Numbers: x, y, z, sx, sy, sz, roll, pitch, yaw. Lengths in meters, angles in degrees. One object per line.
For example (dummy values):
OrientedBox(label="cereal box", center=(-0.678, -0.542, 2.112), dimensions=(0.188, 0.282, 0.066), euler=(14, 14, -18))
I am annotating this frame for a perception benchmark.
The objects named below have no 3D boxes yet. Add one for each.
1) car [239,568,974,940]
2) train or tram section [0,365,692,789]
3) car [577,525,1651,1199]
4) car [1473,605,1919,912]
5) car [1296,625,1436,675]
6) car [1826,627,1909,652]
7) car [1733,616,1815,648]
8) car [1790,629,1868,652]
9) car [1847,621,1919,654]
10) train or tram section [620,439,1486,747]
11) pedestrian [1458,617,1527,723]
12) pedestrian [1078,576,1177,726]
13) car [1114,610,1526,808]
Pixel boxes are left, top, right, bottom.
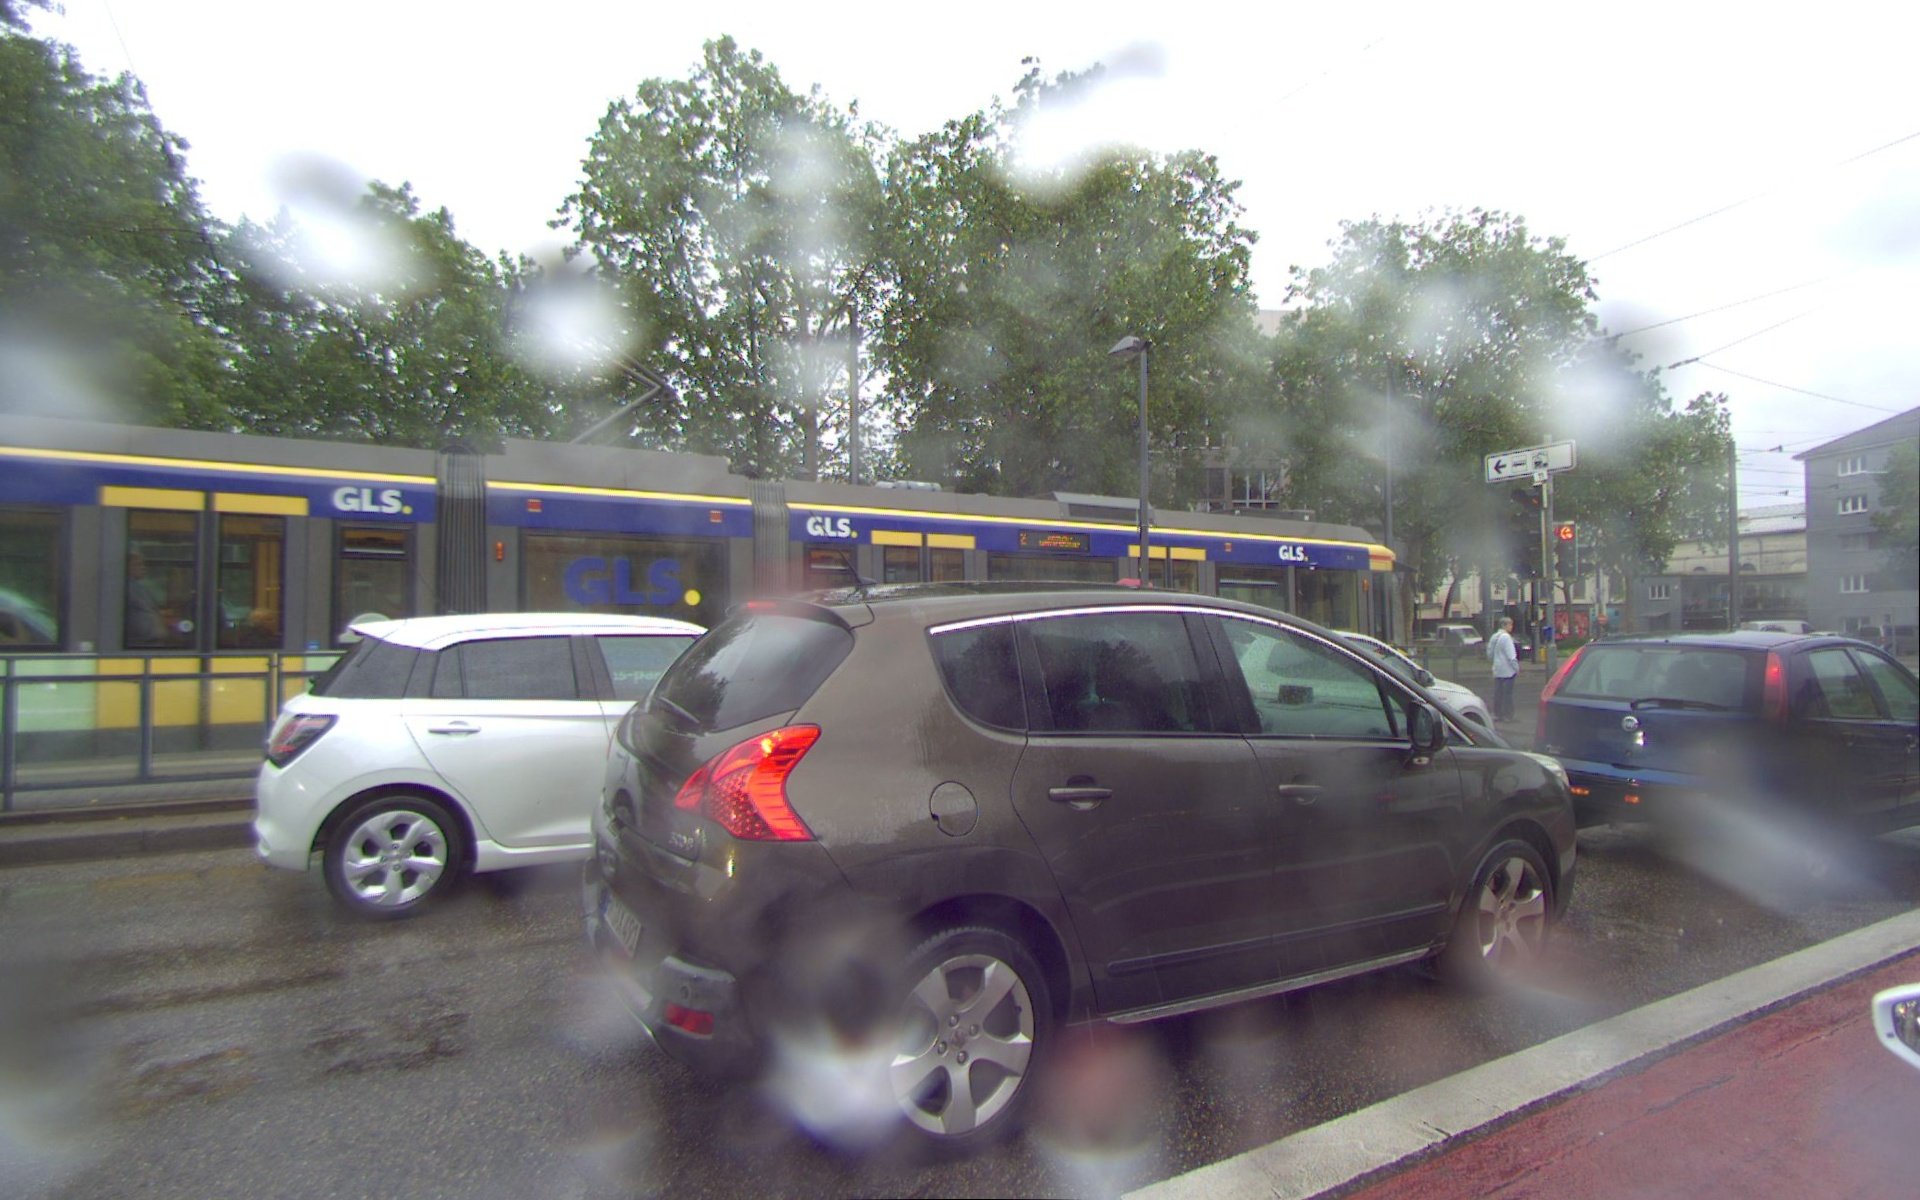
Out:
OrientedBox(label="car", center=(-1.955, 0.740, 6.143), dimensions=(3.791, 1.650, 1.637), euler=(1, -2, -30))
OrientedBox(label="train or tram section", center=(-9.744, -0.236, 9.454), dimensions=(13.500, 3.559, 3.496), euler=(1, 0, -31))
OrientedBox(label="car", center=(0.770, 0.723, 4.112), dimensions=(4.124, 1.690, 1.825), euler=(1, -1, -30))
OrientedBox(label="car", center=(5.519, 0.877, 6.979), dimensions=(3.776, 1.599, 1.719), euler=(1, -1, -30))
OrientedBox(label="car", center=(11.576, 1.423, 28.682), dimensions=(3.466, 1.331, 1.594), euler=(1, -1, -16))
OrientedBox(label="car", center=(61.831, 2.677, 68.472), dimensions=(3.922, 1.550, 1.999), euler=(0, 0, -3))
OrientedBox(label="car", center=(59.647, 2.322, 73.645), dimensions=(4.698, 2.228, 1.998), euler=(0, 1, -6))
OrientedBox(label="car", center=(61.320, 2.840, 70.902), dimensions=(3.922, 1.516, 1.960), euler=(0, 0, -3))
OrientedBox(label="car", center=(60.859, 2.429, 65.747), dimensions=(3.923, 2.040, 1.999), euler=(1, 0, -3))
OrientedBox(label="train or tram section", center=(2.615, 0.066, 16.810), dimensions=(15.327, 3.458, 3.522), euler=(1, 0, -31))
OrientedBox(label="pedestrian", center=(8.424, 1.090, 15.897), dimensions=(0.731, 1.628, 0.623), euler=(1, 0, -23))
OrientedBox(label="pedestrian", center=(2.071, 0.622, 12.426), dimensions=(0.888, 1.769, 0.762), euler=(0, -3, -30))
OrientedBox(label="car", center=(3.419, 0.888, 9.397), dimensions=(3.737, 1.514, 1.621), euler=(1, -1, -30))
